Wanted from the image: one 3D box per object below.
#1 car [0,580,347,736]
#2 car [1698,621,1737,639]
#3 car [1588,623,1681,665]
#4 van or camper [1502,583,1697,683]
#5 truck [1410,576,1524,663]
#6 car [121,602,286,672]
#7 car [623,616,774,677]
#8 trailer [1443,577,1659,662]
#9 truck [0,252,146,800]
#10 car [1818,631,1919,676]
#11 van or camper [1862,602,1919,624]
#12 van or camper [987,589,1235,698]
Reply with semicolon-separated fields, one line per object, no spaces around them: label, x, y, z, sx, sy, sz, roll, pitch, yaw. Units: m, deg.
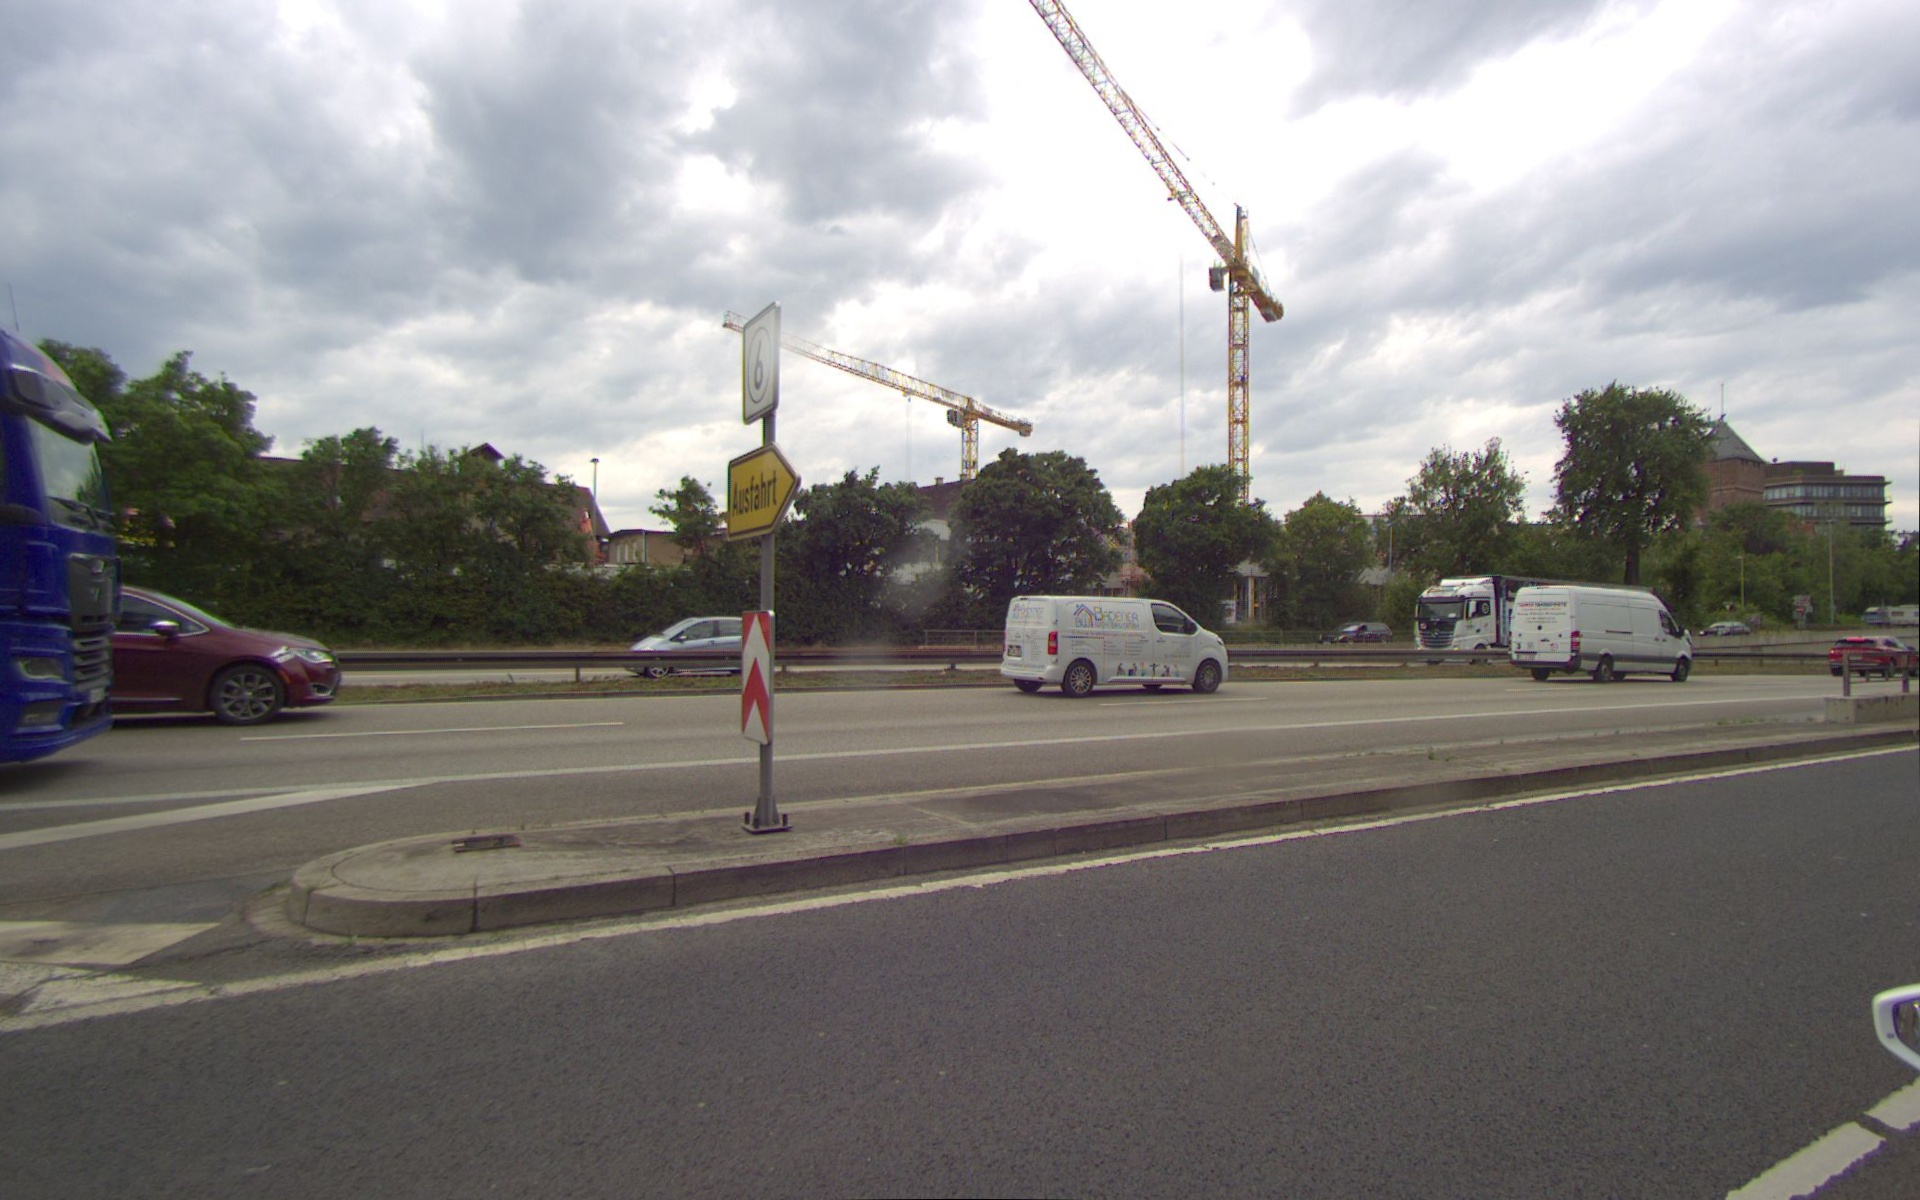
car;-10.352;0.655;12.058;5.025;1.700;1.776;1;-1;-31
car;57.532;2.277;76.300;3.138;1.393;1.327;1;-1;-32
car;30.538;1.963;45.460;3.953;1.789;1.984;1;-1;-30
van or camper;18.870;0.960;29.516;6.877;2.656;2.039;1;-1;-31
truck;23.278;0.917;46.116;4.722;3.818;2.580;1;-1;-31
car;-21.485;1.045;28.688;3.580;1.863;1.547;1;-1;-32
car;-6.892;1.197;26.566;3.584;1.510;1.589;1;-1;-31
trailer;29.667;1.037;49.932;14.555;3.807;2.578;1;-1;-31
truck;-9.870;-0.582;7.186;5.859;4.014;2.655;1;-1;-31
car;36.157;2.087;39.953;4.258;1.703;1.880;1;-1;-32
van or camper;121.444;1.677;130.878;5.549;2.672;1.922;2;0;16
van or camper;3.060;0.843;20.076;4.794;1.945;1.911;1;-1;-30
